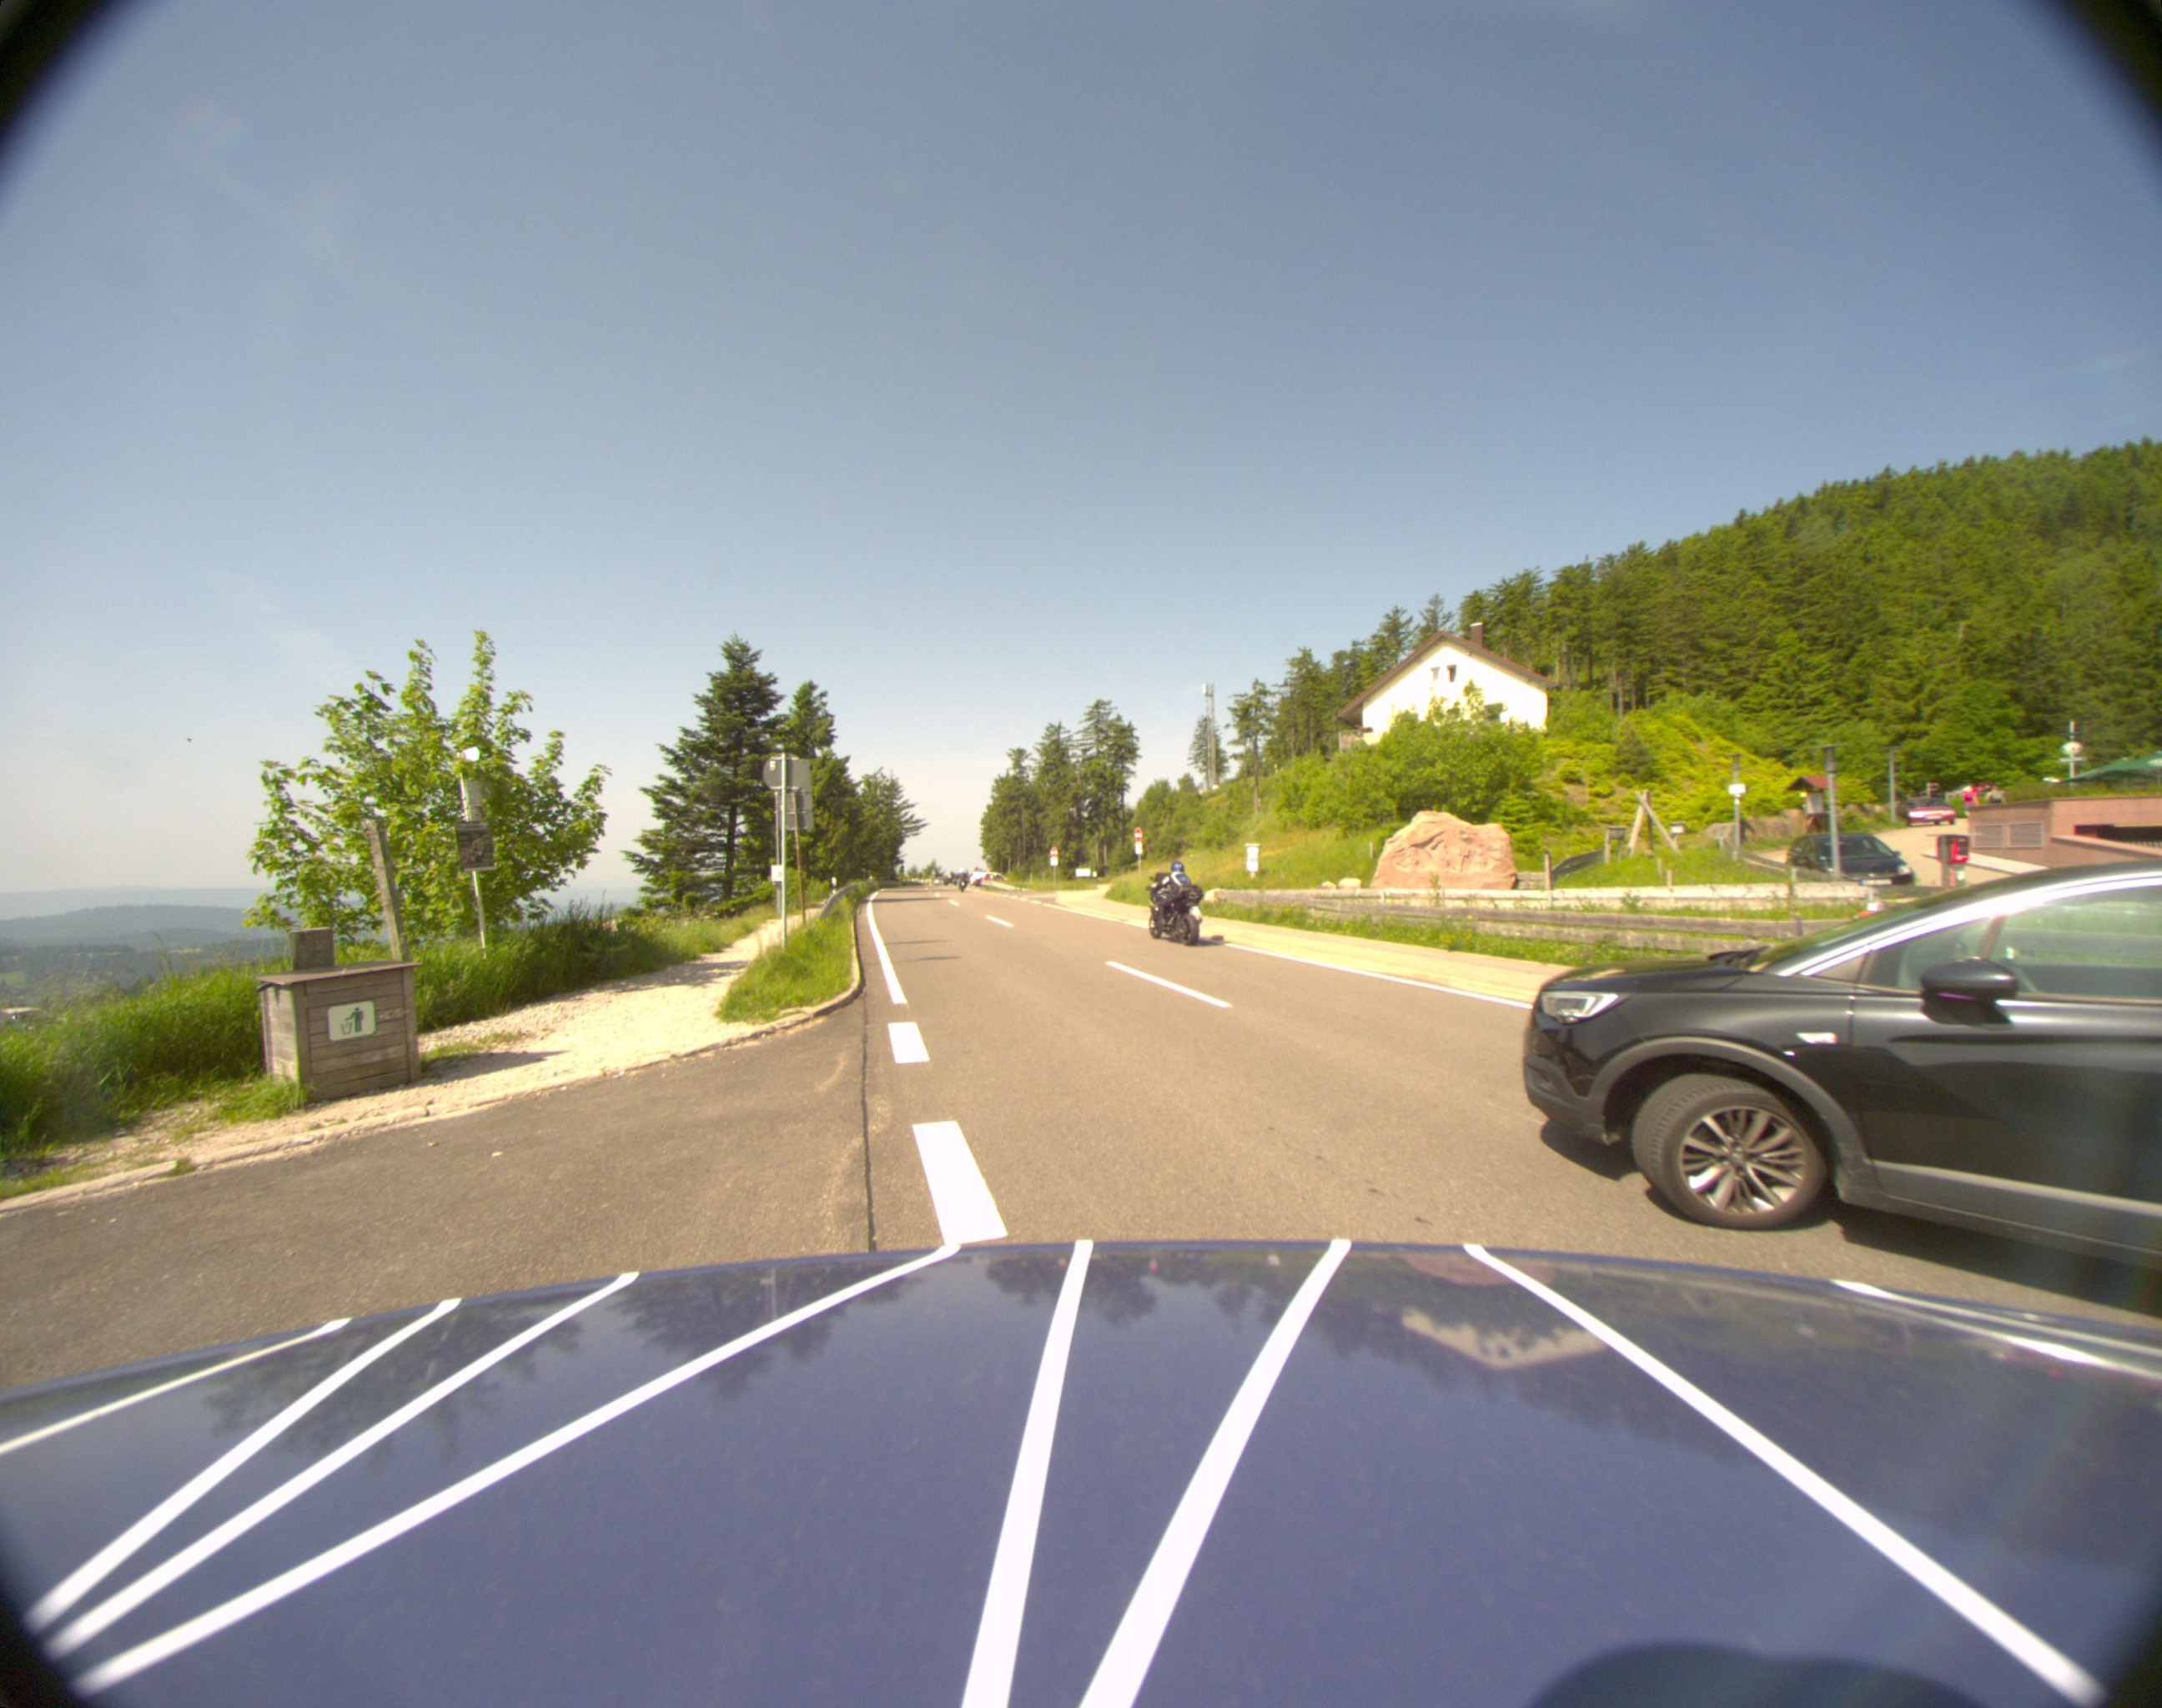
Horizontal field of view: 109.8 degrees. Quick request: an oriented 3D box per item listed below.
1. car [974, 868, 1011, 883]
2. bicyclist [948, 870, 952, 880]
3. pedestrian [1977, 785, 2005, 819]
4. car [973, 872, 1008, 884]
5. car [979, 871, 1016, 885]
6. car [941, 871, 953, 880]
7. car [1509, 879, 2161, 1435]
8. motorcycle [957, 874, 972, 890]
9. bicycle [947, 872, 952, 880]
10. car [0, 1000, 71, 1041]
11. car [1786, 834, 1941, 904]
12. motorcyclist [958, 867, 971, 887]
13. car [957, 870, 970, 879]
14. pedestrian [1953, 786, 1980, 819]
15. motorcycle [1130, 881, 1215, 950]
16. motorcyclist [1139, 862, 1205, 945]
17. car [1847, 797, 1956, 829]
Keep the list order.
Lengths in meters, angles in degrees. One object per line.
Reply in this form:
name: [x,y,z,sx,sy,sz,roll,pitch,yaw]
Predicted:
car: [-12.010,2.929,103.419,4.736,1.870,1.930,2,-1,-15]
bicyclist: [-20.359,3.250,117.726,0.546,1.519,0.679,0,0,-6]
pedestrian: [43.798,-2.518,36.585,0.572,1.534,0.633,-7,2,31]
car: [-10.997,2.936,92.084,3.934,1.365,1.930,2,-1,-15]
car: [-9.905,2.860,89.632,4.164,1.501,1.930,2,-1,-11]
car: [-24.739,3.871,140.121,2.000,1.586,3.998,1,-1,-8]
car: [4.127,0.930,2.707,1.991,1.607,4.137,2,-2,-44]
motorcycle: [-8.322,1.995,54.296,0.842,1.089,2.180,1,0,-13]
bicycle: [-20.372,3.401,117.805,0.546,1.220,1.858,1,-1,-7]
car: [-53.912,8.381,38.218,3.523,1.655,1.801,-1,-1,-7]
car: [20.056,0.301,19.691,1.874,1.347,4.005,0,5,32]
motorcyclist: [-8.358,1.637,54.390,0.842,1.432,1.004,1,1,-13]
car: [-21.423,3.682,138.843,1.999,1.586,3.999,1,-1,-4]
pedestrian: [43.175,-2.511,37.039,0.572,1.534,0.633,-7,2,31]
motorcycle: [1.859,1.228,15.844,0.814,1.258,2.323,0,0,-19]
motorcyclist: [1.872,0.985,15.778,0.882,1.632,1.297,0,0,-19]
car: [39.637,-1.951,36.845,1.546,1.308,3.855,-1,0,9]
